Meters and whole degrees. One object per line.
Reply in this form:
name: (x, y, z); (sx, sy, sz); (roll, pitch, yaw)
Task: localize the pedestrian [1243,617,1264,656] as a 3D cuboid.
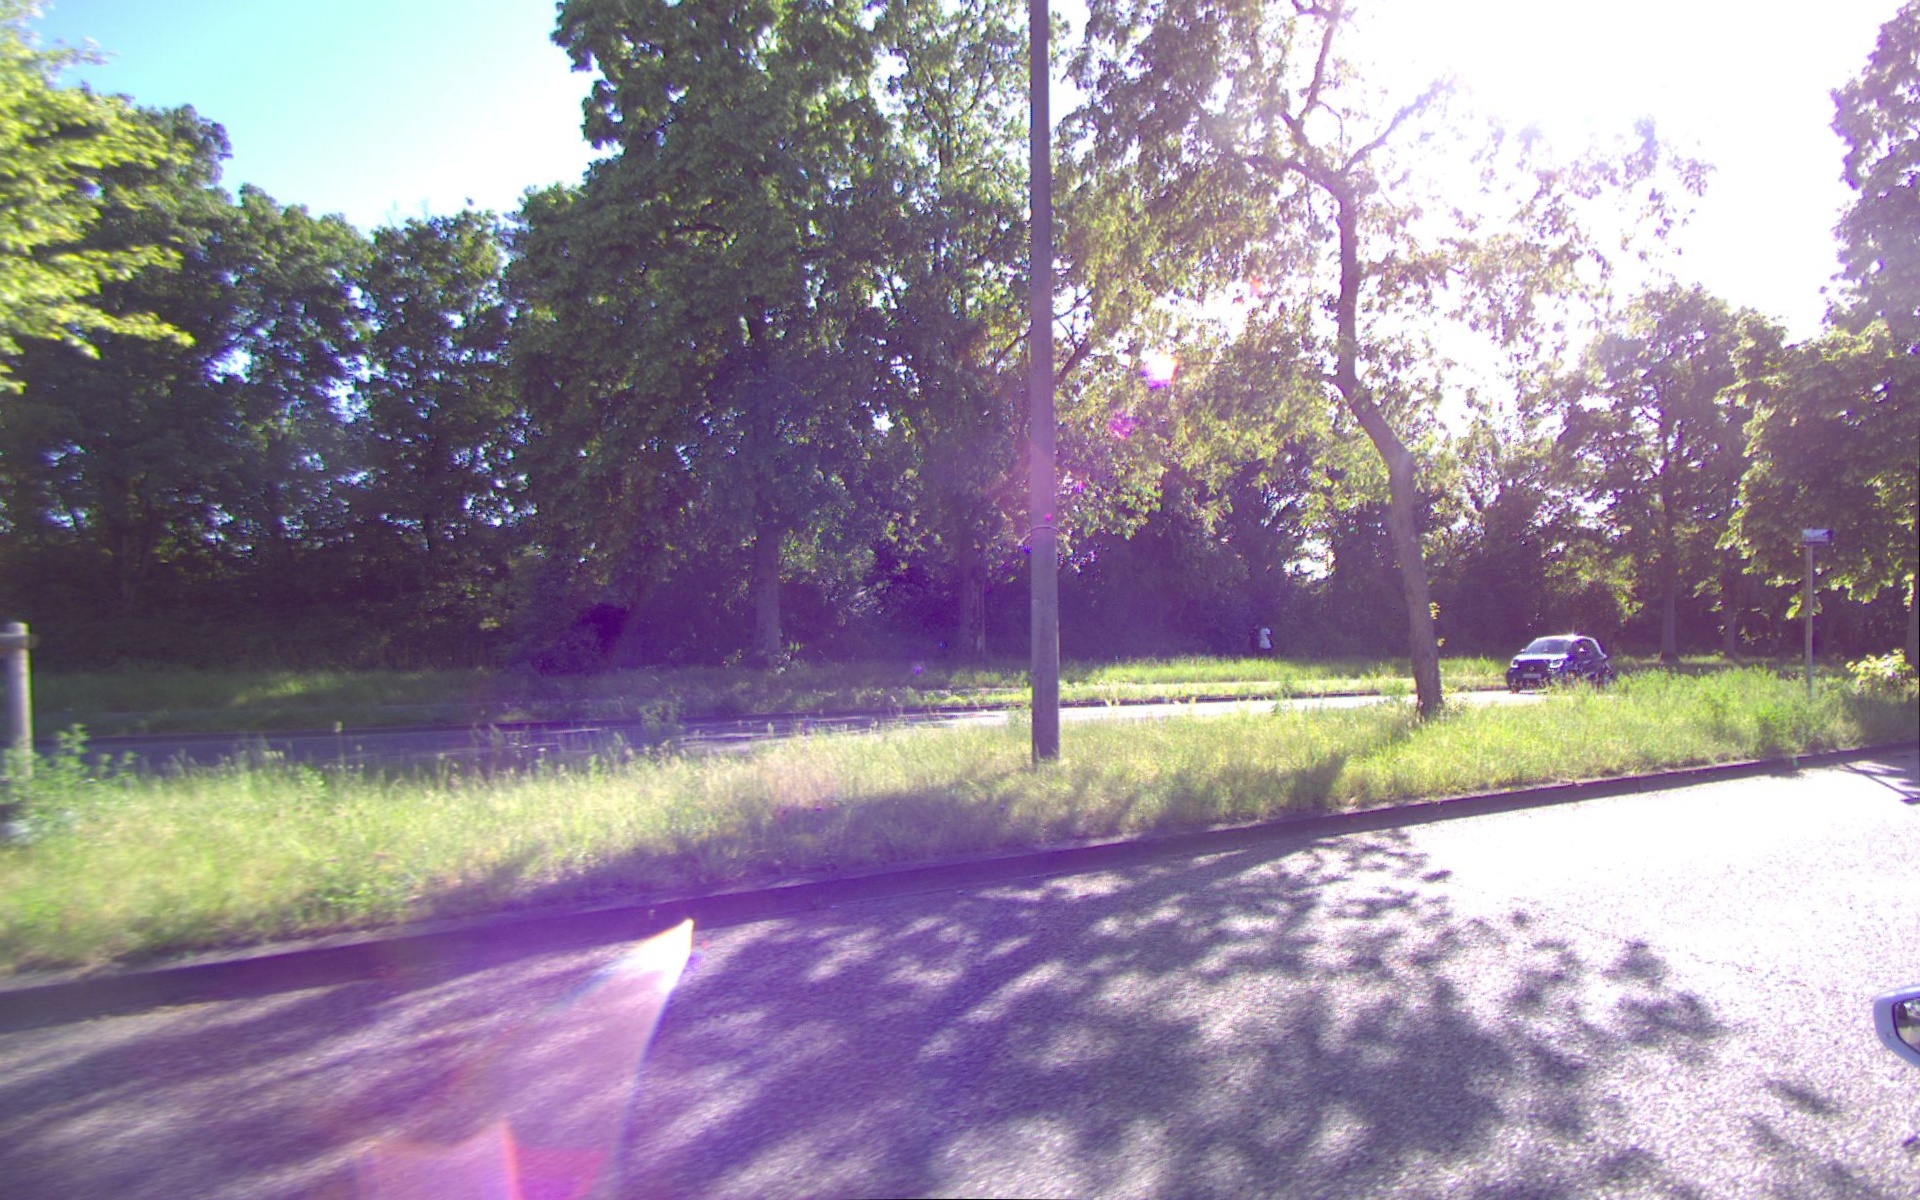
pedestrian: (11.241, 1.405, 38.482); (0.589, 1.479, 0.542); (1, -1, -30)

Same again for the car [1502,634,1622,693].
car: (16.815, 1.753, 28.058); (2.983, 1.525, 1.706); (1, -4, -33)

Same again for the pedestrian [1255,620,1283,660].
pedestrian: (11.615, 1.500, 37.811); (0.906, 1.479, 0.542); (1, -1, -30)
